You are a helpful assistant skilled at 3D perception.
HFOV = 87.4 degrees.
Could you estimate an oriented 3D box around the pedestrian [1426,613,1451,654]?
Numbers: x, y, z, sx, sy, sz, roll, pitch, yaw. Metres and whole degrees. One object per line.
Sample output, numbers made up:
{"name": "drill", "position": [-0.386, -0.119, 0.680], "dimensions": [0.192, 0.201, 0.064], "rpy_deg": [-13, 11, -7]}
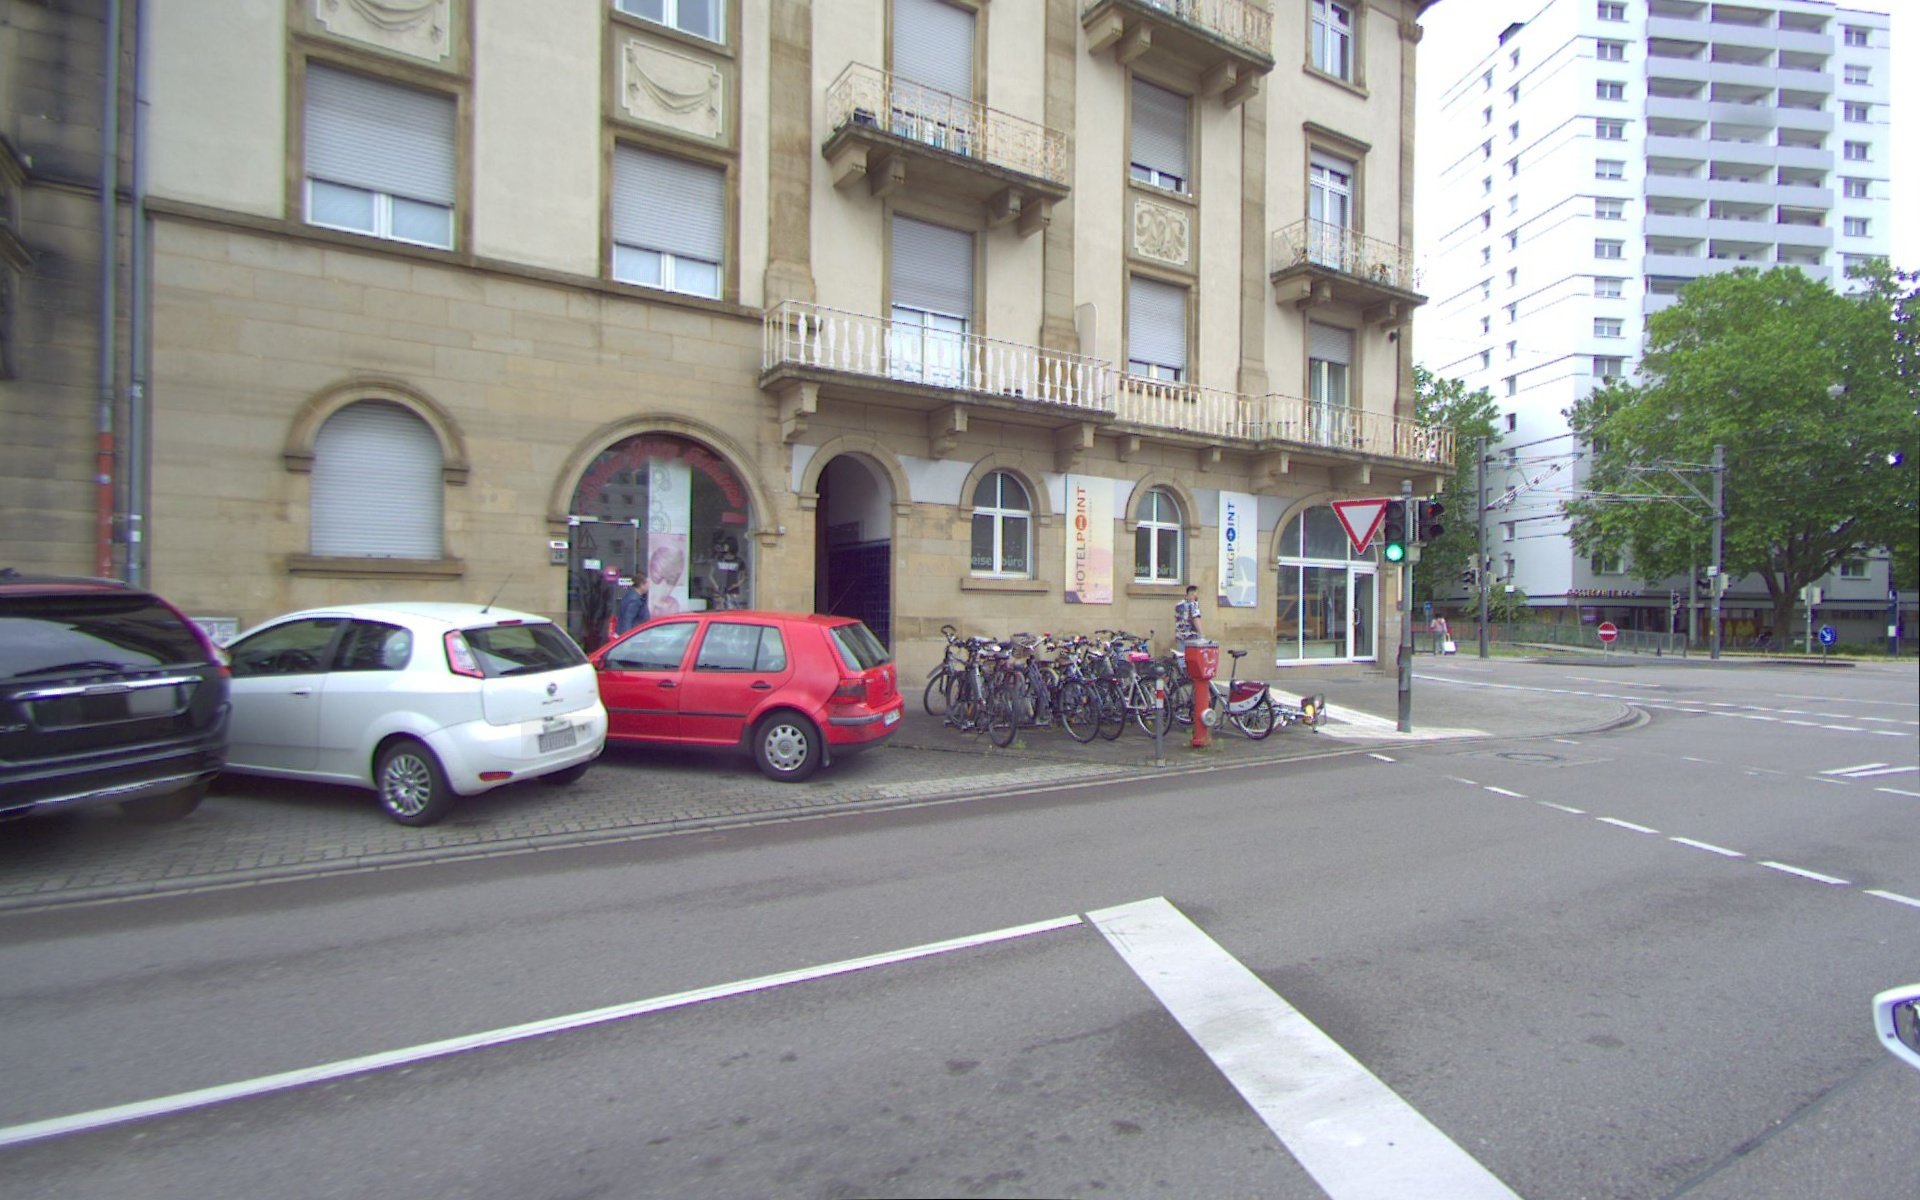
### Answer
{"name": "pedestrian", "position": [19.112, 1.335, 40.123], "dimensions": [0.577, 1.624, 0.732], "rpy_deg": [0, -1, -8]}

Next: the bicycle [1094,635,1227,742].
{"name": "bicycle", "position": [2.514, 1.082, 12.811], "dimensions": [0.437, 1.050, 1.875], "rpy_deg": [0, 5, -32]}

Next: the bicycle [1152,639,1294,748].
{"name": "bicycle", "position": [3.255, 1.123, 12.611], "dimensions": [0.437, 1.050, 1.875], "rpy_deg": [0, 5, -32]}

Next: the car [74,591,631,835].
{"name": "car", "position": [-4.812, 0.752, 8.031], "dimensions": [3.920, 1.492, 1.565], "rpy_deg": [2, 1, 17]}

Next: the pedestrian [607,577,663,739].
{"name": "pedestrian", "position": [-4.104, 0.714, 12.674], "dimensions": [0.544, 1.984, 0.616], "rpy_deg": [1, -1, -30]}

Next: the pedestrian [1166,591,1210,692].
{"name": "pedestrian", "position": [4.150, 0.743, 18.288], "dimensions": [0.544, 1.809, 0.564], "rpy_deg": [1, -1, -30]}

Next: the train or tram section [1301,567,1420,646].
{"name": "train or tram section", "position": [20.898, 0.388, 52.947], "dimensions": [2.636, 3.811, 7.253], "rpy_deg": [1, -1, -8]}

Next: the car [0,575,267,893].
{"name": "car", "position": [-6.845, 0.676, 6.431], "dimensions": [4.141, 1.673, 1.732], "rpy_deg": [1, 0, 17]}

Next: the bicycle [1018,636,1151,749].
{"name": "bicycle", "position": [1.452, 1.063, 12.087], "dimensions": [0.437, 1.050, 1.875], "rpy_deg": [0, 5, -32]}

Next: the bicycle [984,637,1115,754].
{"name": "bicycle", "position": [1.009, 1.071, 11.795], "dimensions": [0.437, 1.050, 1.875], "rpy_deg": [0, 5, -32]}

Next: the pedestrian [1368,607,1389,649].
{"name": "pedestrian", "position": [19.010, 1.257, 45.616], "dimensions": [0.577, 1.889, 0.732], "rpy_deg": [0, -1, -8]}

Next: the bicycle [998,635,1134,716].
{"name": "bicycle", "position": [1.489, 1.009, 13.900], "dimensions": [1.974, 1.041, 0.499], "rpy_deg": [1, -1, -31]}

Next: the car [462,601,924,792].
{"name": "car", "position": [-2.462, 0.816, 9.635], "dimensions": [3.919, 1.492, 1.685], "rpy_deg": [1, 1, 11]}

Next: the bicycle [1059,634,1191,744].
{"name": "bicycle", "position": [1.998, 1.054, 12.448], "dimensions": [0.437, 1.050, 1.875], "rpy_deg": [0, 5, -32]}

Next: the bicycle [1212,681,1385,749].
{"name": "bicycle", "position": [4.290, 1.439, 12.868], "dimensions": [1.017, 0.451, 1.875], "rpy_deg": [-1, 5, -32]}

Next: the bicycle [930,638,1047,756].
{"name": "bicycle", "position": [0.278, 1.057, 11.447], "dimensions": [0.436, 1.050, 1.878], "rpy_deg": [1, 4, -27]}
